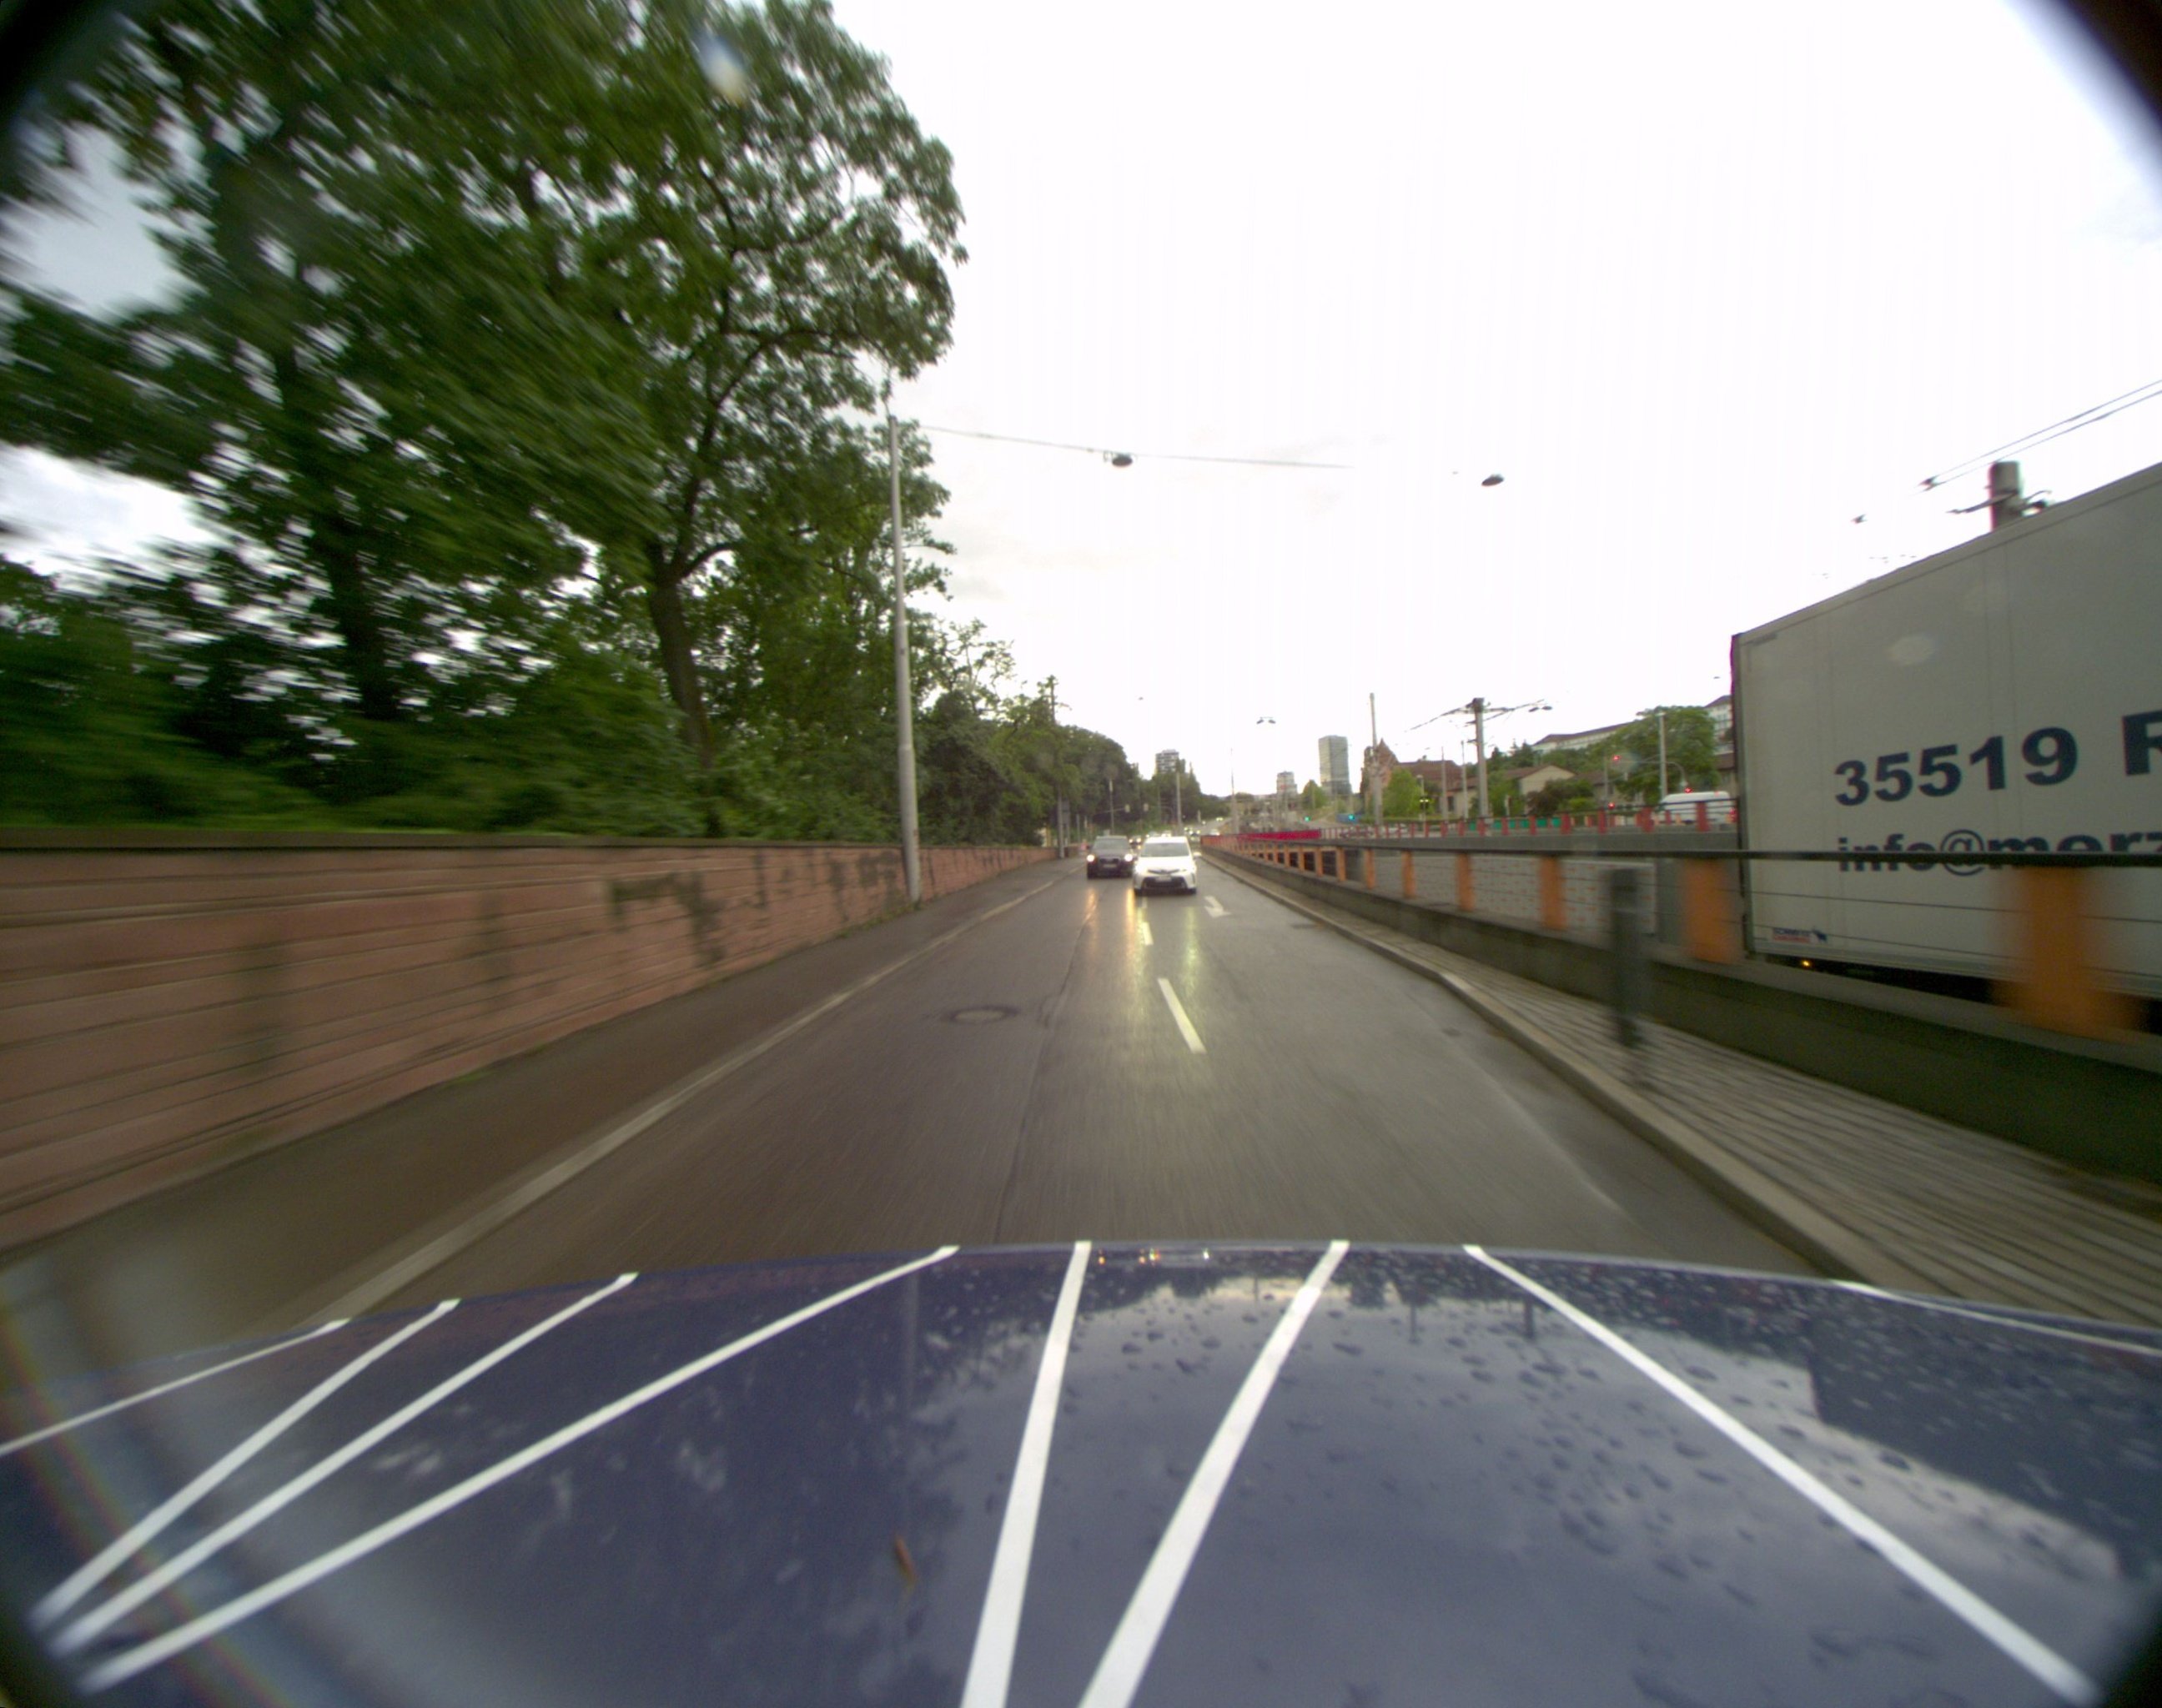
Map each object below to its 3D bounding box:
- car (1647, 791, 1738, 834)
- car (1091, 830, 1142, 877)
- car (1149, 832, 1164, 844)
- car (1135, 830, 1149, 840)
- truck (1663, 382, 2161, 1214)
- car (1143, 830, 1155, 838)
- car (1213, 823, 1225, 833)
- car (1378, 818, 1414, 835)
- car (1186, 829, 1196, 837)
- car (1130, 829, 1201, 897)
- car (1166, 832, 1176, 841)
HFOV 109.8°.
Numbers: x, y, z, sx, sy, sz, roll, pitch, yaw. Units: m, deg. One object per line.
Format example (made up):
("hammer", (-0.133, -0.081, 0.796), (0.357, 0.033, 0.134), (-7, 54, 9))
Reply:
("car", (42.081, -2.842, 52.520), (1.998, 2.816, 5.717), (-1, 3, 5))
("car", (1.441, -0.091, 30.652), (1.855, 1.579, 3.998), (-3, 3, 3))
("car", (11.904, -2.577, 119.307), (1.737, 1.579, 4.002), (-2, 3, 15))
("car", (9.859, -3.077, 122.145), (1.888, 1.463, 4.011), (-3, 0, 8))
("truck", (6.590, -0.265, 0.793), (2.768, 4.173, 13.033), (-2, 1, 4))
("car", (13.144, -3.811, 146.551), (1.888, 1.463, 4.011), (-3, 0, 8))
("car", (25.681, -4.800, 141.367), (1.737, 1.579, 4.002), (-2, 3, 15))
("car", (43.160, -3.762, 104.117), (2.003, 2.003, 3.988), (-8, 6, -43))
("car", (22.305, -4.288, 154.210), (1.801, 1.463, 4.000), (-3, 3, 7))
("car", (2.469, 0.185, 22.412), (1.855, 1.742, 4.000), (-1, 2, 6))
("car", (17.124, -3.353, 144.961), (1.801, 1.503, 4.002), (-3, 0, 6))
